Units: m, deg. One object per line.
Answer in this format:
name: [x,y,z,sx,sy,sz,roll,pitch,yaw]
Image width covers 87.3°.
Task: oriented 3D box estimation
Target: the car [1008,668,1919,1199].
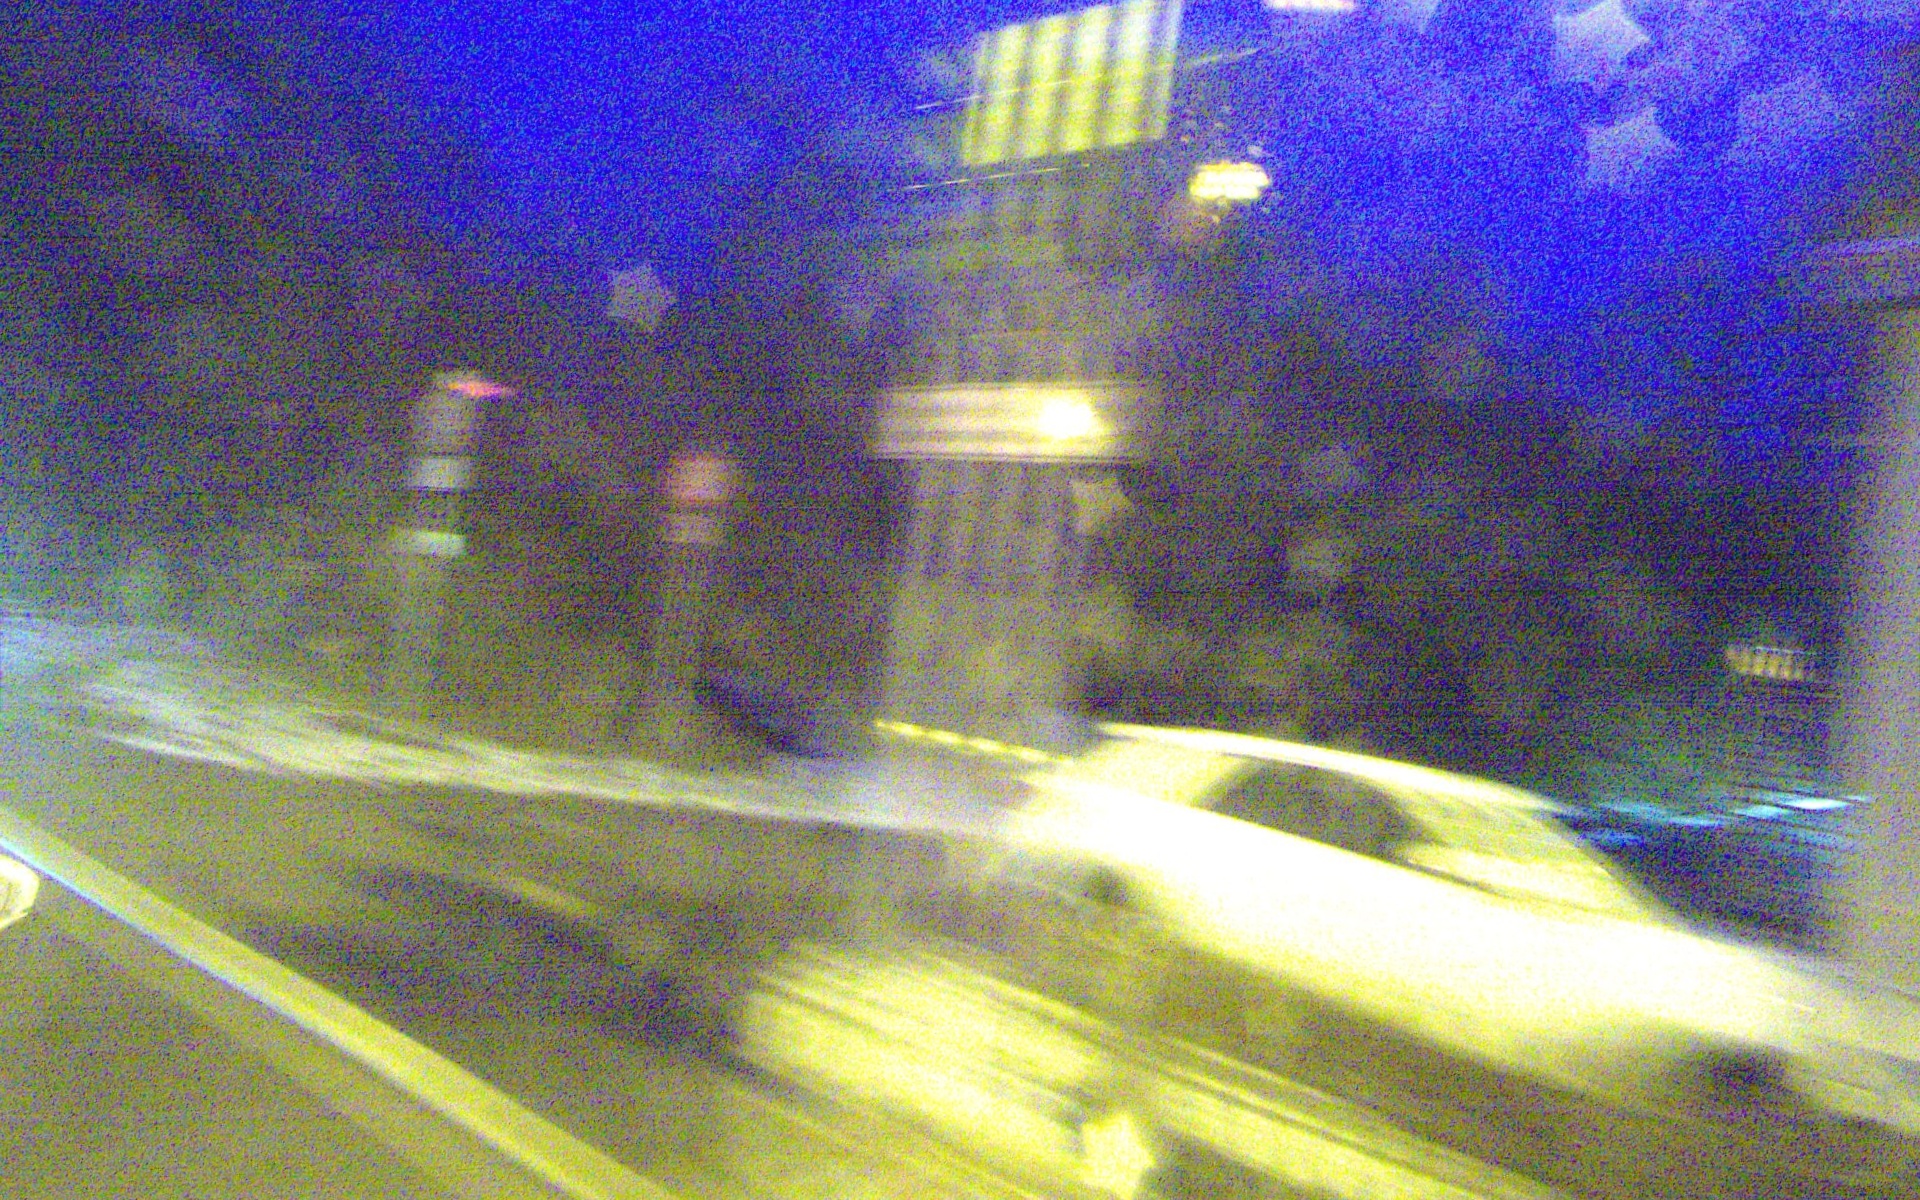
car: [2.313,1.437,4.908,3.746,1.585,1.673,8,-1,40]
